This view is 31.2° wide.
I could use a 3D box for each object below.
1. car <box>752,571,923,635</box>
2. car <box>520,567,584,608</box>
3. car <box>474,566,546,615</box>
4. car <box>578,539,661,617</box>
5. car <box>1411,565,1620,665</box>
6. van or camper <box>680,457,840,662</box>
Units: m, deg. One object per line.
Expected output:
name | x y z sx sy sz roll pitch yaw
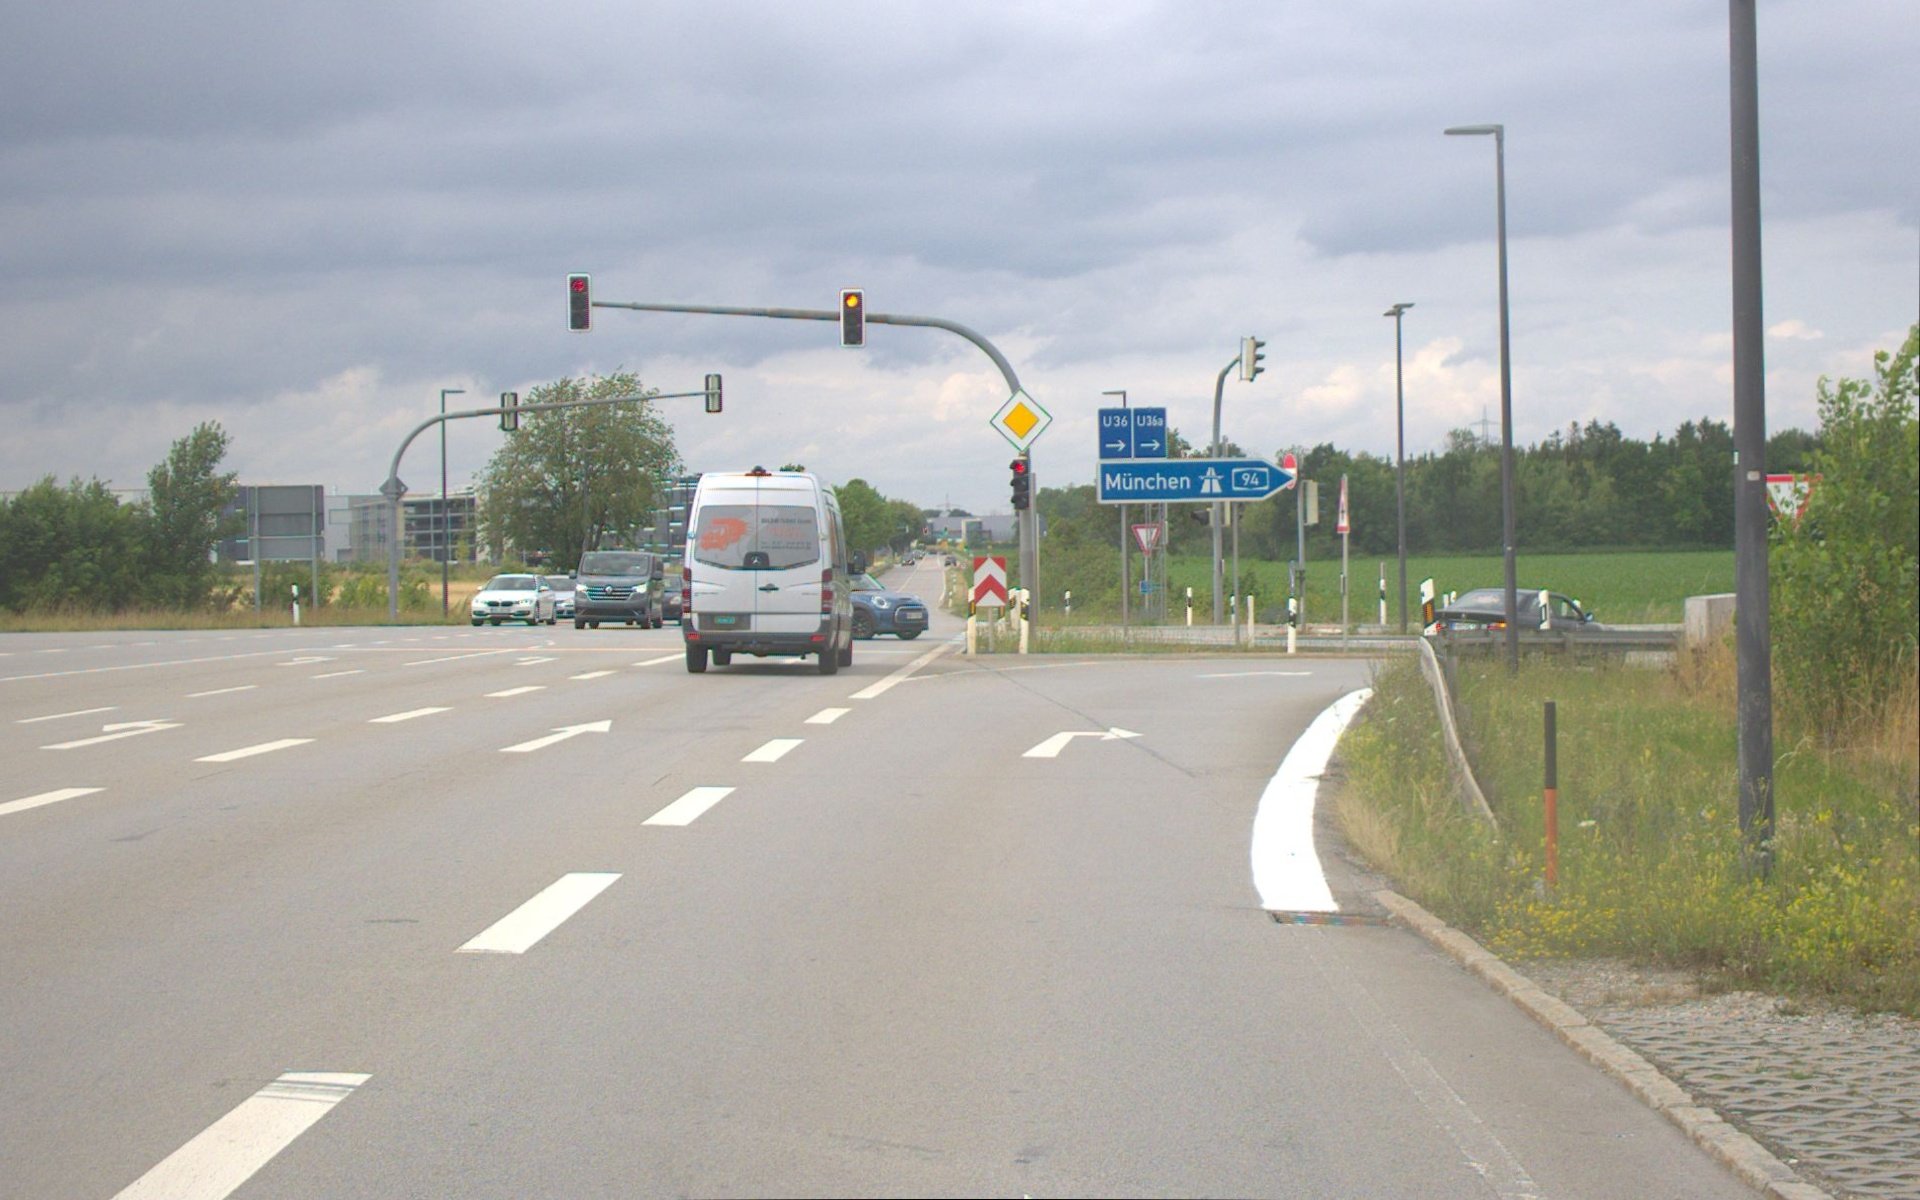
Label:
car | -2.504 0.052 69.992 3.165 1.262 1.483 0 1 31
car | -12.520 -0.391 105.591 1.480 1.174 3.534 -1 1 1
car | -12.423 -0.271 95.024 1.480 1.278 3.534 -1 1 1
car | -8.426 -0.566 85.295 1.638 1.845 3.749 -1 1 1
car | 8.777 0.212 54.159 1.522 1.480 3.607 0 1 42
van or camper | -2.604 -0.554 45.609 1.876 2.572 4.000 1 1 0
